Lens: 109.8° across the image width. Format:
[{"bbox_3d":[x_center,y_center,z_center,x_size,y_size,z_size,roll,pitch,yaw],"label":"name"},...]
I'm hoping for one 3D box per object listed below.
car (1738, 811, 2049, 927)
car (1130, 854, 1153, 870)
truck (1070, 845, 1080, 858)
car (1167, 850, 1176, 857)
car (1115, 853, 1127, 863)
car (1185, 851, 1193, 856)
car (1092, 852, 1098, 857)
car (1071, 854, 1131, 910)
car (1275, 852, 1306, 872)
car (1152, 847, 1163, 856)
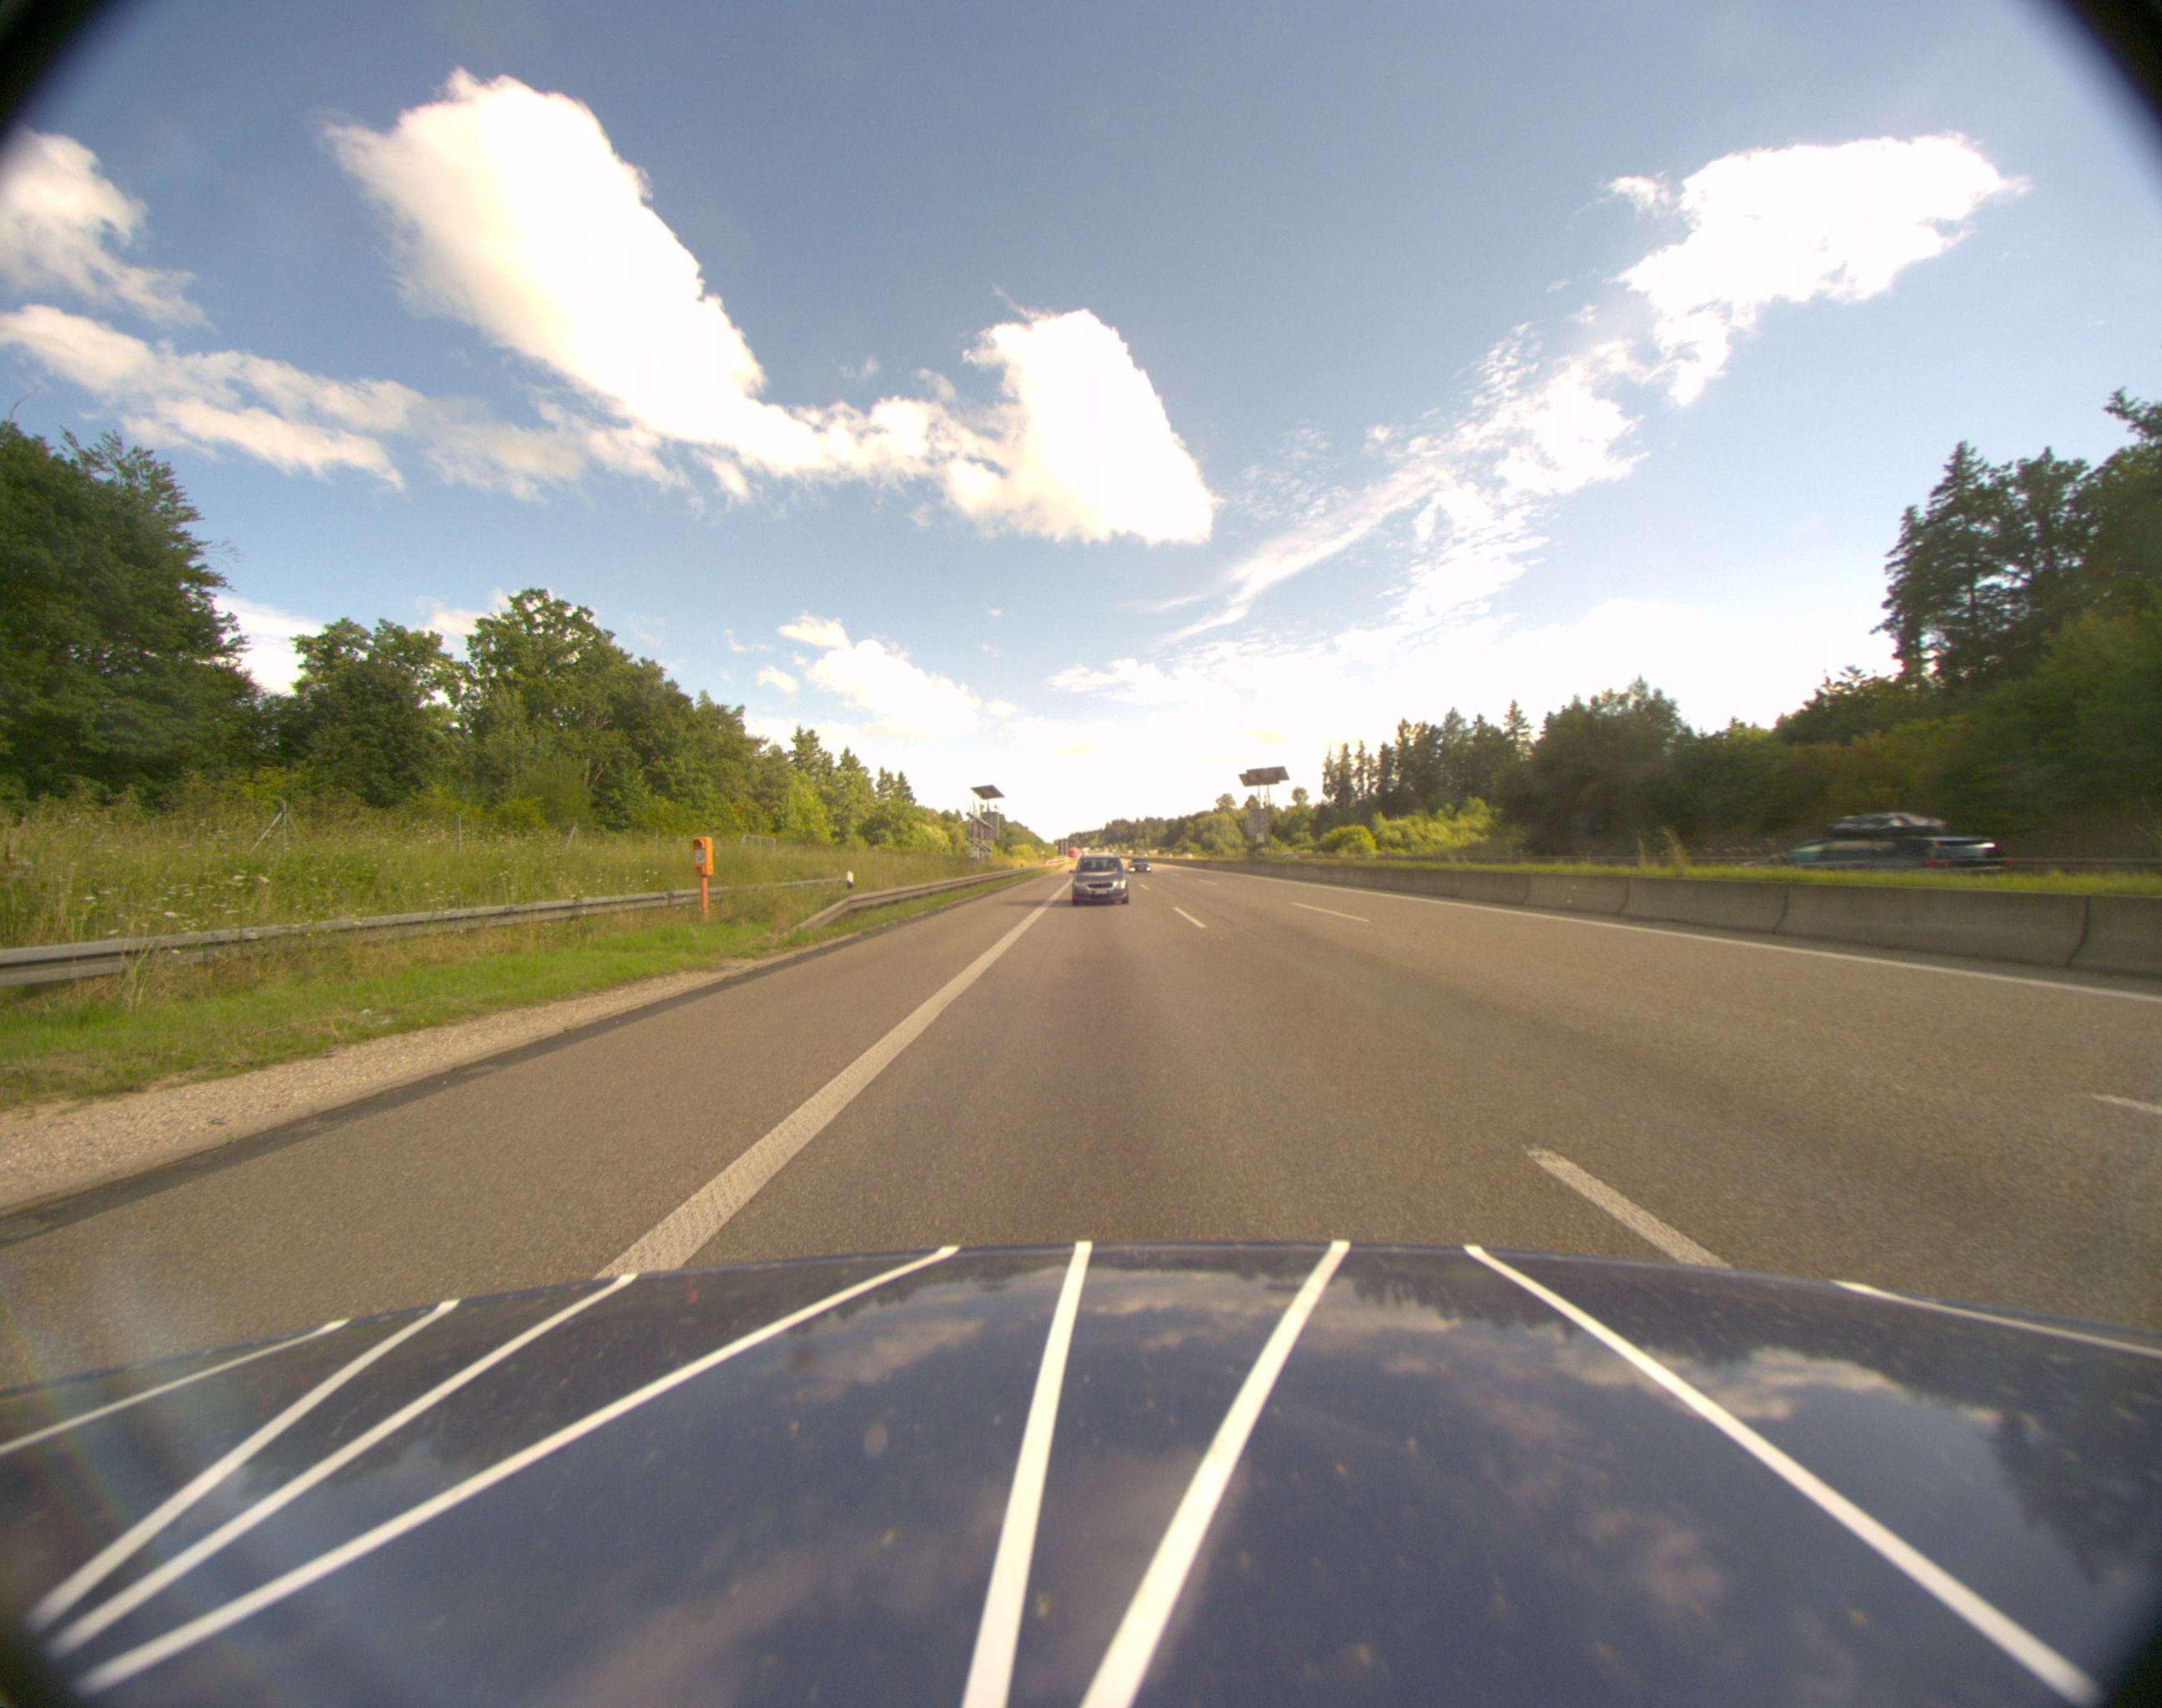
[{"bbox_3d":[16.125,0.262,15.472,1.998,2.002,4.072,-2,0,1],"label":"car"},{"bbox_3d":[5.278,0.704,66.743,1.748,1.276,4.199,-2,0,2],"label":"car"},{"bbox_3d":[-2.068,-0.885,251.061,2.880,3.871,8.959,-2,1,1],"label":"truck"},{"bbox_3d":[23.566,-0.169,198.891,1.929,1.795,4.493,-2,0,2],"label":"car"},{"bbox_3d":[6.583,0.621,124.986,1.961,1.608,4.388,-2,0,2],"label":"car"},{"bbox_3d":[26.438,-0.157,185.350,1.595,1.087,3.173,-2,0,2],"label":"car"},{"bbox_3d":[4.729,0.201,255.454,1.938,1.772,4.236,-2,0,2],"label":"car"},{"bbox_3d":[0.661,0.841,24.593,1.741,1.608,4.083,-2,0,2],"label":"car"},{"bbox_3d":[21.117,0.812,76.807,1.931,1.894,4.429,-2,0,1],"label":"car"},{"bbox_3d":[20.210,-0.642,200.907,2.585,2.332,5.829,-2,0,2],"label":"car"}]
